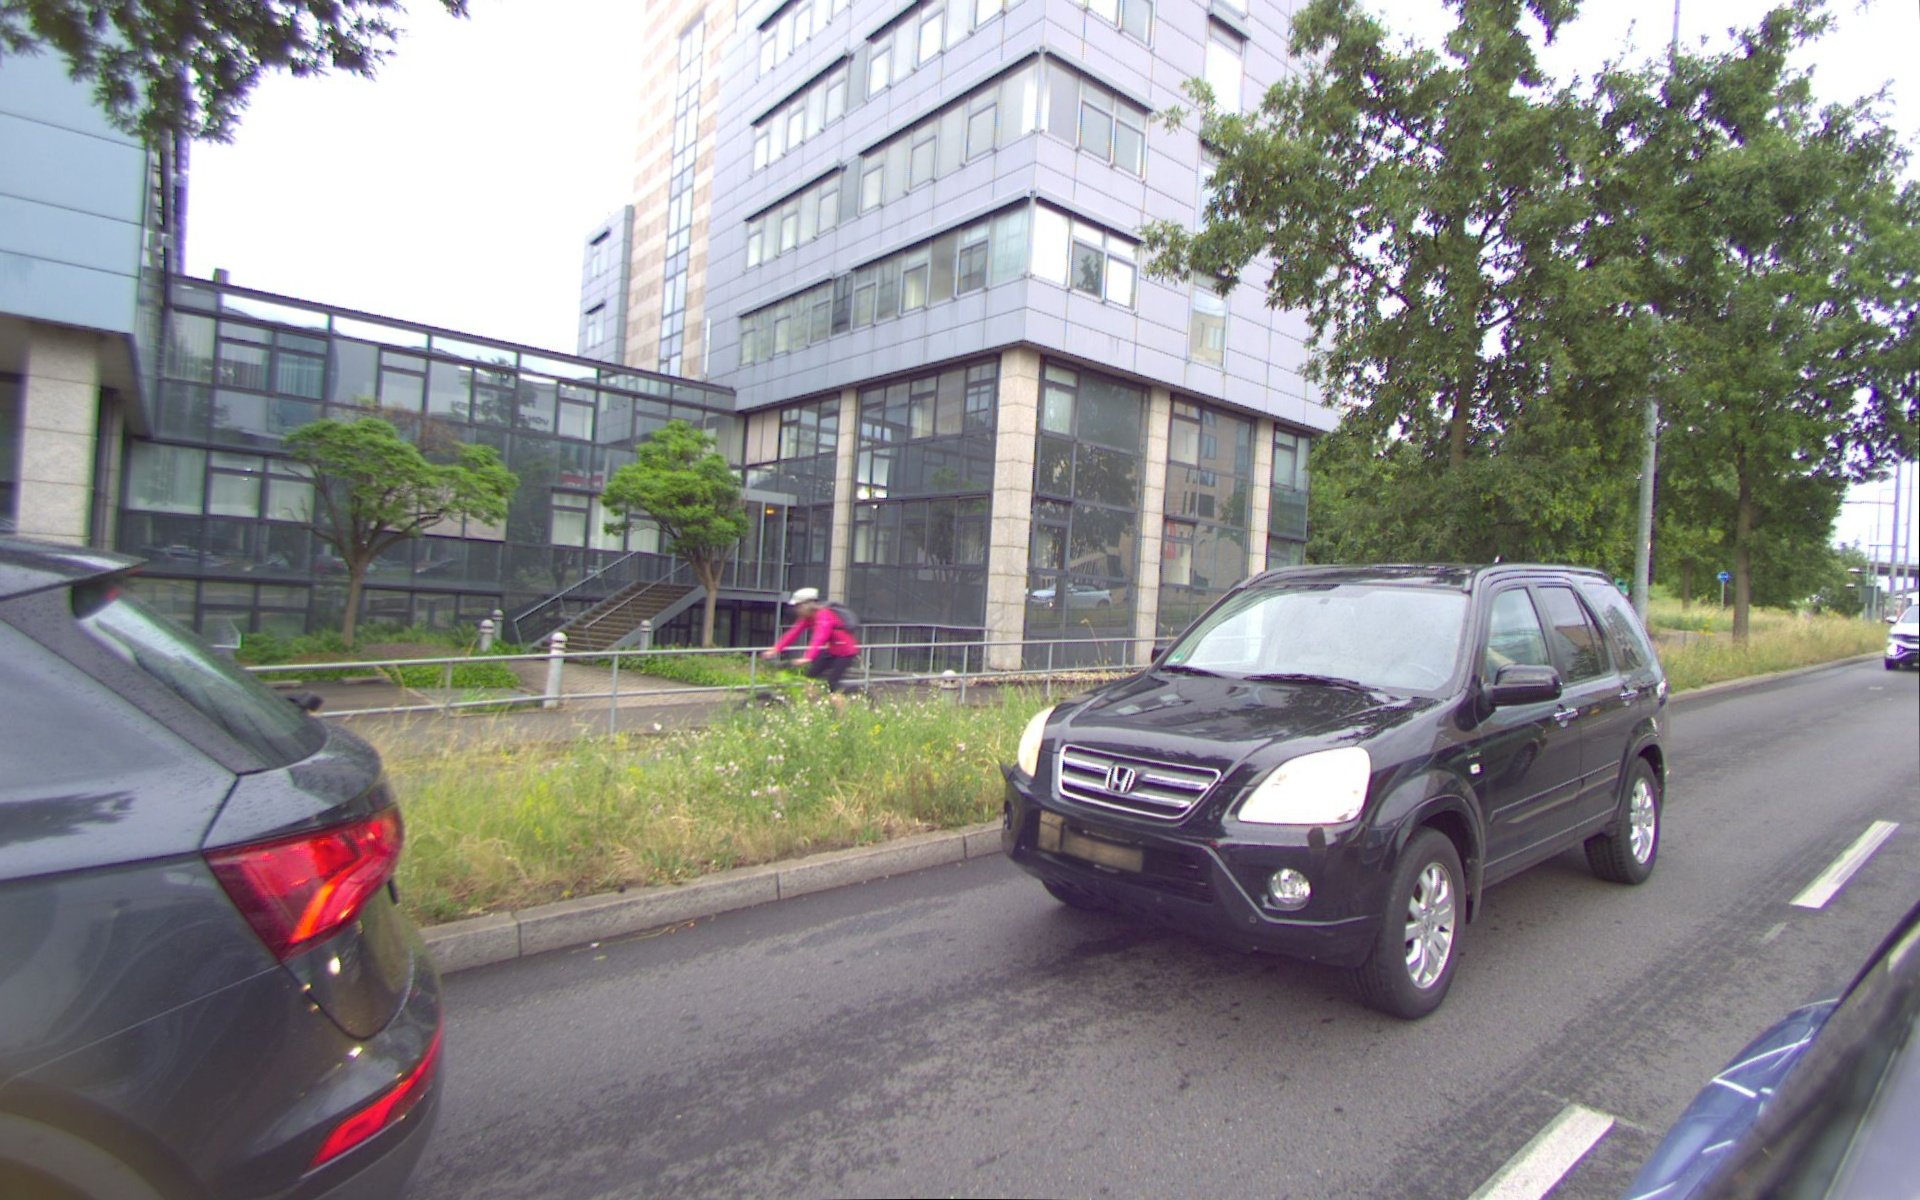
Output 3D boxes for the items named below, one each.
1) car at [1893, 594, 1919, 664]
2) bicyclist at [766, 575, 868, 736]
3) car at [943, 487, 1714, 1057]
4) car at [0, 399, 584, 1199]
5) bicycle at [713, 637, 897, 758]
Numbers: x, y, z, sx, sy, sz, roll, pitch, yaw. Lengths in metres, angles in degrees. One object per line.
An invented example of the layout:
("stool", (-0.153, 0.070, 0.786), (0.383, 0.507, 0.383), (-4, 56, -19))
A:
("car", (22.589, 0.648, 22.806), (3.699, 1.522, 1.827), (0, 1, -40))
("bicyclist", (-1.492, 0.552, 10.594), (0.839, 1.599, 0.647), (1, -1, -41))
("car", (2.112, 0.487, 5.049), (4.262, 1.679, 1.758), (0, 1, -41))
("car", (-2.907, 0.542, 1.016), (4.392, 1.633, 1.821), (0, 1, -41))
("bicycle", (-1.582, 0.965, 10.538), (1.872, 1.102, 0.581), (1, -1, -41))
